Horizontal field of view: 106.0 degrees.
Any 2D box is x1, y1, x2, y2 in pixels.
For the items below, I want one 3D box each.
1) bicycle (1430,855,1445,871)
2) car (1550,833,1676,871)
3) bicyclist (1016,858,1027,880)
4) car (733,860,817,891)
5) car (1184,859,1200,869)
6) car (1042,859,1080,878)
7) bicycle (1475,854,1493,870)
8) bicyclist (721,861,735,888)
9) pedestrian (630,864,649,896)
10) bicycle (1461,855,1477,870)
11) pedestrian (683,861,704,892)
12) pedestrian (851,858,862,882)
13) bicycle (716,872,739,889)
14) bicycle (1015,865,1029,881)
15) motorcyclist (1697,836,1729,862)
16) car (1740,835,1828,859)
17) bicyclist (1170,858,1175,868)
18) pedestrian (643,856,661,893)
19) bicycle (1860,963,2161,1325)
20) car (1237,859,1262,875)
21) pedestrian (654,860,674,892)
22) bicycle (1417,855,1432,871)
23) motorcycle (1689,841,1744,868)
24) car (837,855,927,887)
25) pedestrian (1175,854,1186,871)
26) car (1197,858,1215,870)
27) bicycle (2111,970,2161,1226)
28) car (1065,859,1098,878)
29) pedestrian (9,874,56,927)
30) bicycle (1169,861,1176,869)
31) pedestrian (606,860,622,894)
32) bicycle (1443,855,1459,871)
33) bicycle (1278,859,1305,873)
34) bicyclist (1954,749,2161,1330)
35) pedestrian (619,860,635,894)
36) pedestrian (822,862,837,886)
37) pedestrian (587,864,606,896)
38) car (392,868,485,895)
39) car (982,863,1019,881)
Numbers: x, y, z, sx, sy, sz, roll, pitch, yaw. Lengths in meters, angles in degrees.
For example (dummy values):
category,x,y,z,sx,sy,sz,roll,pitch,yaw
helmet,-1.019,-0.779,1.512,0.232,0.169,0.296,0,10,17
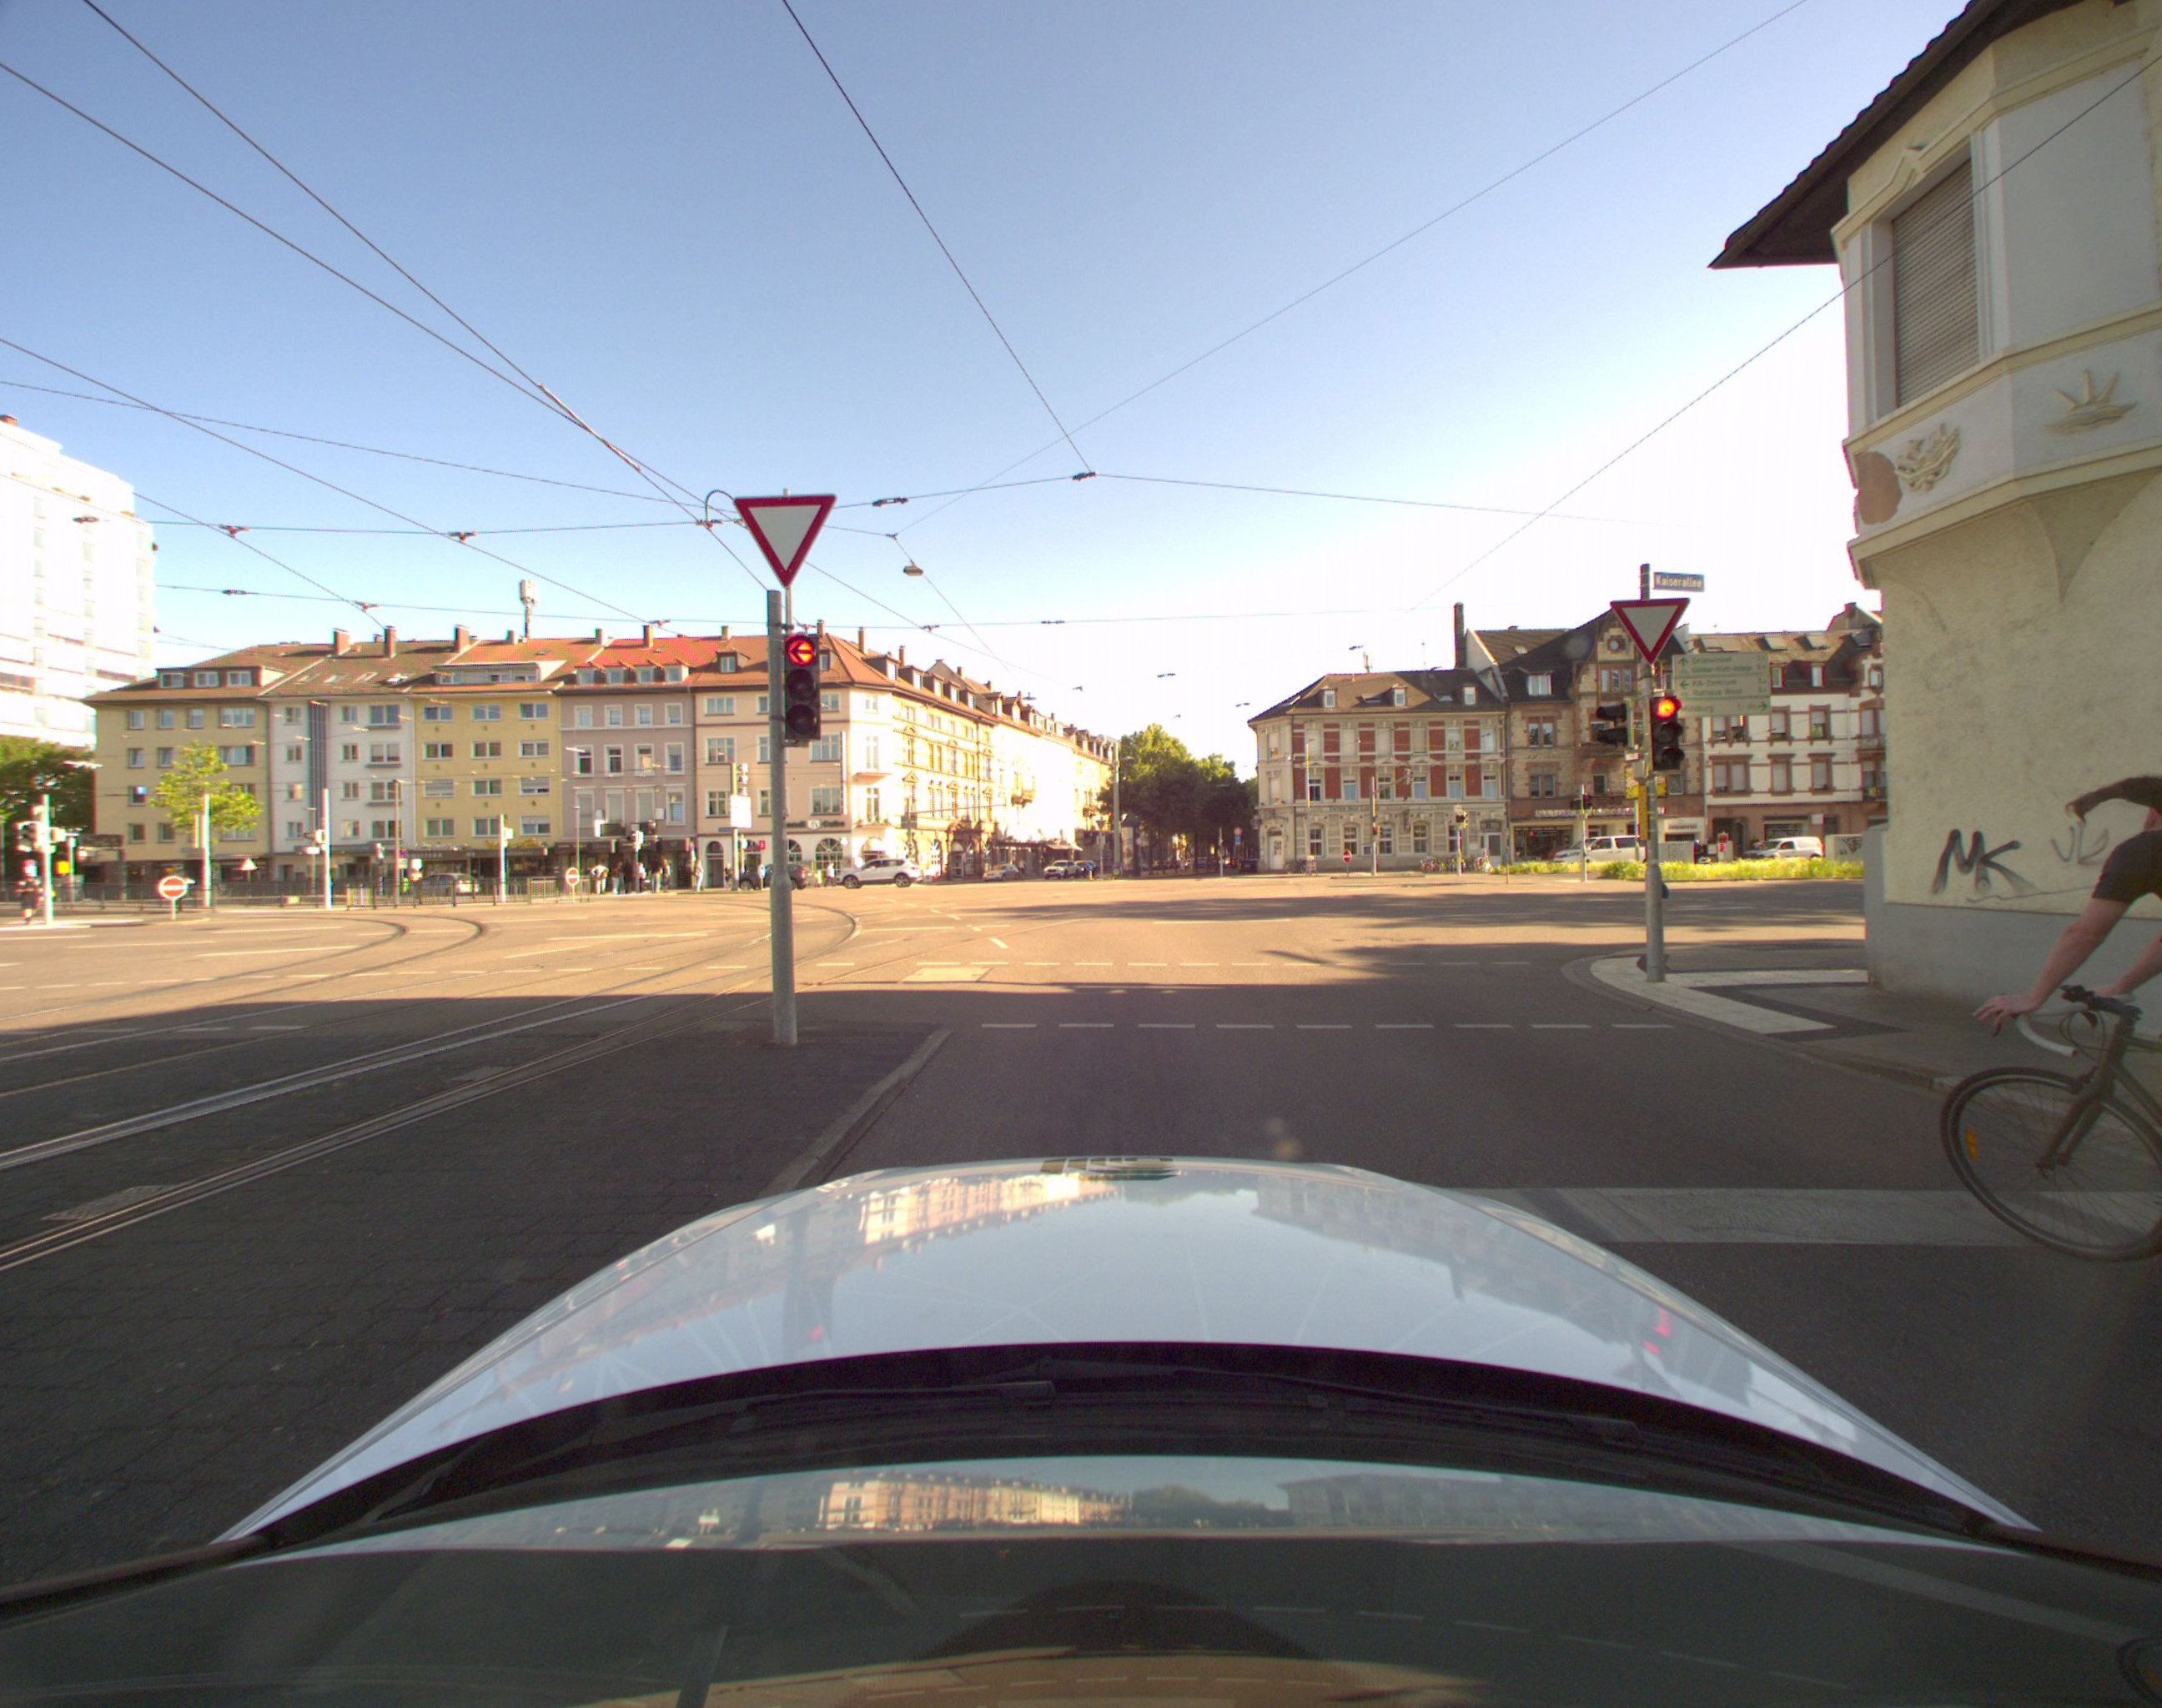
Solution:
category,x,y,z,sx,sy,sz,roll,pitch,yaw
bicycle,23.257,0.577,53.088,0.758,0.968,2.221,-1,-1,20
car,27.294,-0.094,41.906,5.179,1.854,2.001,-1,0,2
bicyclist,-4.765,1.209,65.413,0.561,1.804,0.918,-1,-1,17
car,-18.077,1.233,48.229,4.213,1.773,1.818,0,-1,1
car,17.976,1.552,131.789,1.788,1.575,3.908,-1,-1,17
car,-1.654,1.181,67.465,1.788,1.585,4.179,-1,-1,19
bicycle,26.043,0.540,52.666,0.785,1.016,2.221,-1,-1,20
bicyclist,-22.984,1.321,53.007,0.618,1.790,0.616,0,-1,7
pedestrian,-22.935,1.332,42.327,0.571,1.648,0.727,0,-1,1
bicycle,25.179,0.549,52.851,0.758,1.007,2.231,-1,-1,20
pedestrian,-19.955,1.146,41.968,0.666,1.594,0.815,0,-1,1
pedestrian,-15.820,1.090,57.345,0.581,1.676,0.501,-1,-1,35
bicycle,-22.984,1.705,52.980,0.618,1.030,1.758,0,-1,7
bicycle,-4.756,1.490,65.402,0.561,1.254,1.564,-1,-1,17
motorcyclist,32.212,-0.248,41.523,1.009,1.300,0.790,0,-1,6
car,45.195,-0.431,52.429,3.961,1.438,1.874,0,-1,5
bicyclist,14.033,1.337,124.795,0.668,1.568,0.751,-1,-1,20
pedestrian,-21.589,1.022,40.980,0.525,1.823,0.677,0,-1,1
bicycle,3.584,0.961,2.621,0.480,0.991,1.783,0,-1,2
car,17.088,1.262,82.248,1.741,1.556,4.021,-1,-1,22
pedestrian,-21.550,1.111,42.046,0.580,1.648,0.840,0,-1,1
bicycle,22.502,0.584,53.355,0.758,0.963,2.221,-1,-1,20
motorcycle,32.372,0.048,41.502,2.124,1.333,0.798,0,-1,6
car,-11.096,0.952,45.716,4.666,1.734,1.833,0,-1,-5
pedestrian,12.325,1.061,100.911,0.967,2.014,0.910,0,-1,-30
car,17.878,1.359,116.367,1.978,1.684,4.018,-1,-1,17
bicycle,4.454,0.959,2.442,0.501,0.983,1.783,0,-1,2
car,0.067,1.293,73.771,1.809,1.685,3.893,-1,-1,18
pedestrian,-32.569,1.420,25.311,0.605,1.609,0.770,-1,-1,25
bicycle,14.025,1.715,124.758,0.668,1.207,1.831,-1,-1,20
pedestrian,-23.252,1.141,40.533,0.520,1.648,0.498,0,-1,1
bicycle,24.044,0.570,52.964,0.758,0.983,2.221,-1,-1,20
bicycle,14.705,0.834,56.915,1.789,0.963,0.606,-1,-1,16
bicyclist,3.578,0.563,2.588,0.587,1.767,0.936,0,-1,2
pedestrian,-22.575,1.136,40.484,0.520,1.648,0.498,0,-1,1
pedestrian,-16.877,1.337,54.737,0.562,1.642,0.797,-1,-1,25
pedestrian,-25.042,1.339,42.084,0.582,1.648,0.616,0,-1,1
car,-35.910,1.527,45.574,3.777,1.403,1.699,0,-1,-1
car,-6.600,1.477,67.413,1.647,1.374,3.909,-1,-1,17
